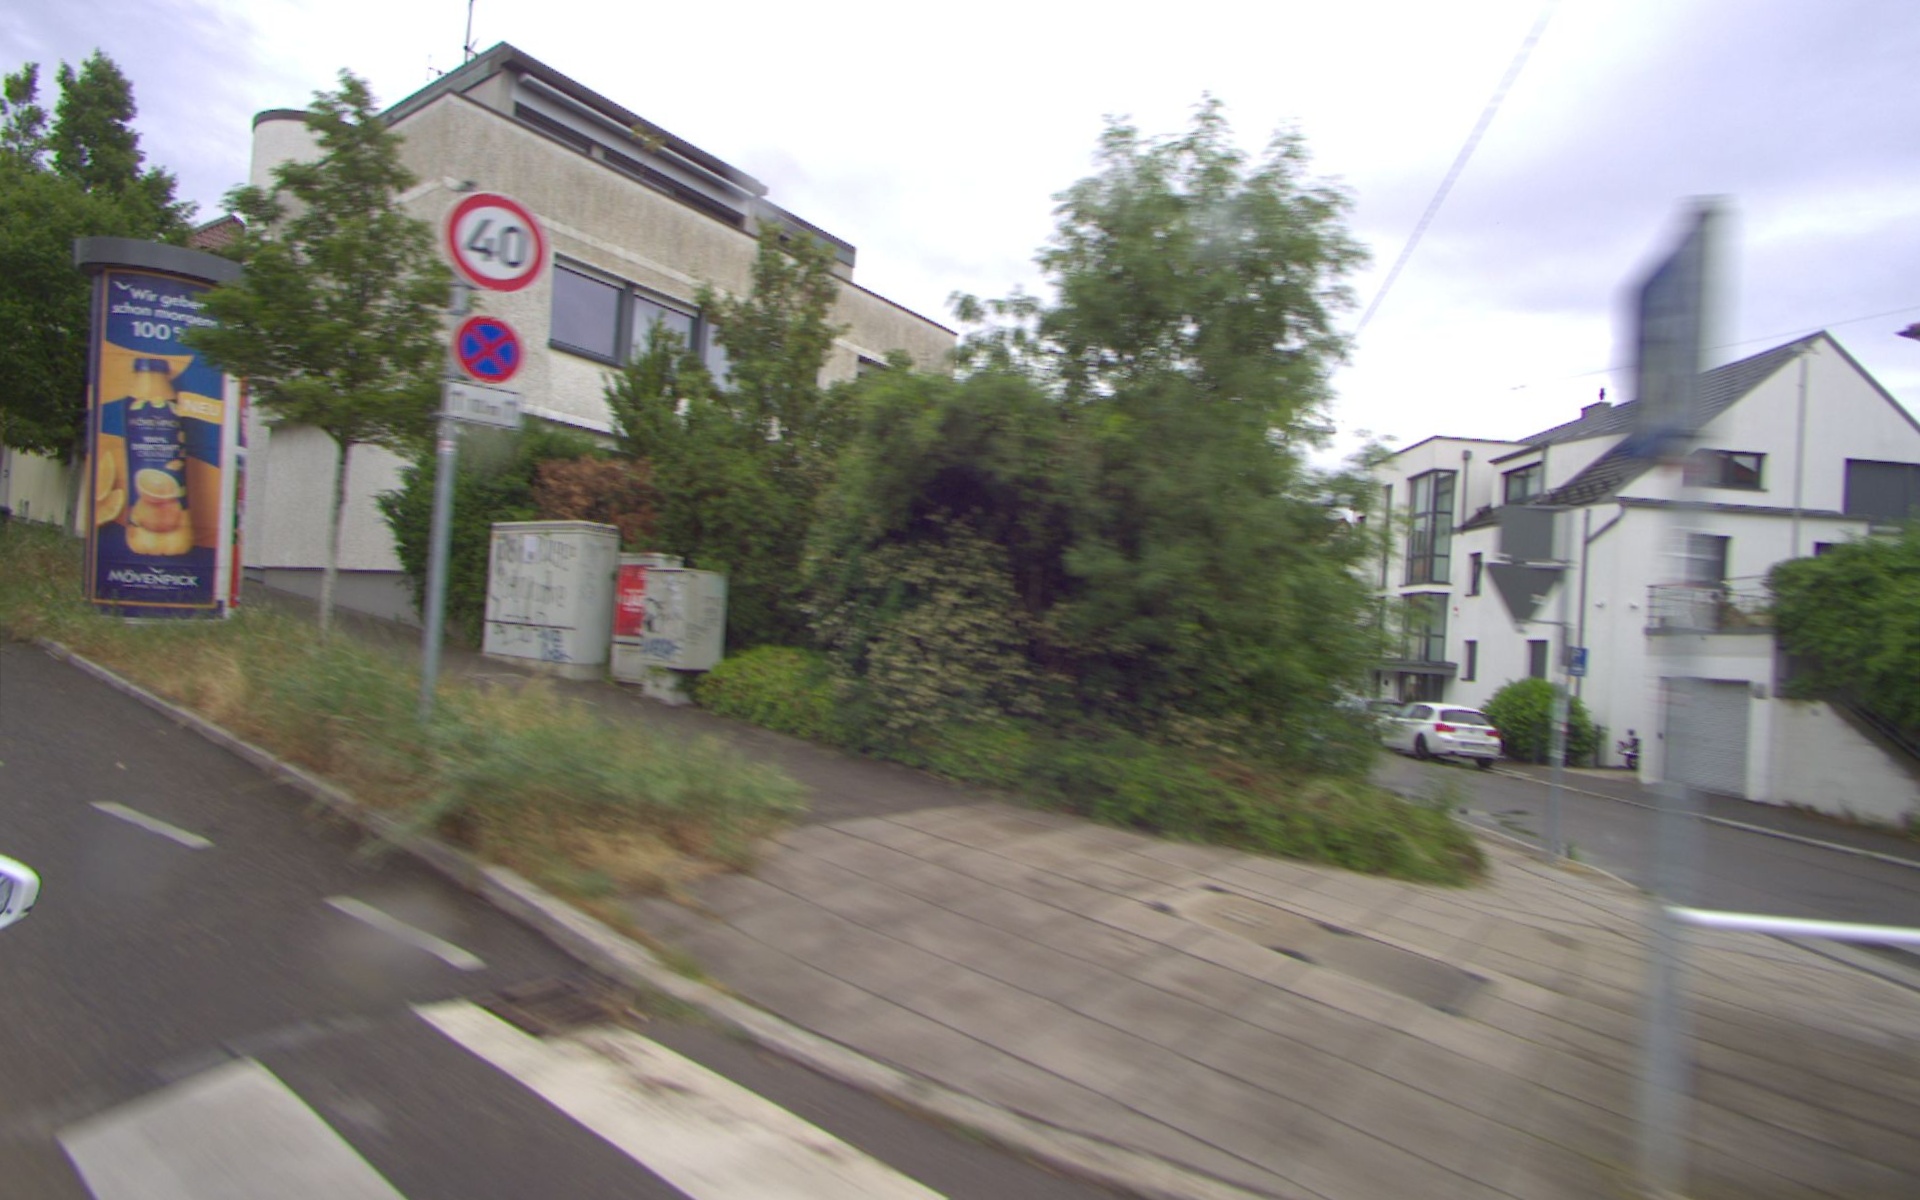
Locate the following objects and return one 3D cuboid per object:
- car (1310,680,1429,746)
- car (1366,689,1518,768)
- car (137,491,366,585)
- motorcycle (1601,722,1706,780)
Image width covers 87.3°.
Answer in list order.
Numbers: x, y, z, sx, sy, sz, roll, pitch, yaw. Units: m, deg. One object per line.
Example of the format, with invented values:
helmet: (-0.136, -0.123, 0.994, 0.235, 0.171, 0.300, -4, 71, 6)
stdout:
car: (12.356, 3.387, 30.675, 1.831, 1.501, 4.001, 6, -2, -1)
car: (12.265, 3.239, 25.909, 1.831, 1.450, 4.001, 6, -2, -1)
car: (-15.789, -1.346, 22.547, 3.970, 1.431, 1.707, 9, -2, -39)
motorcycle: (17.256, 3.752, 25.044, 2.064, 1.091, 0.622, 8, 0, 0)
